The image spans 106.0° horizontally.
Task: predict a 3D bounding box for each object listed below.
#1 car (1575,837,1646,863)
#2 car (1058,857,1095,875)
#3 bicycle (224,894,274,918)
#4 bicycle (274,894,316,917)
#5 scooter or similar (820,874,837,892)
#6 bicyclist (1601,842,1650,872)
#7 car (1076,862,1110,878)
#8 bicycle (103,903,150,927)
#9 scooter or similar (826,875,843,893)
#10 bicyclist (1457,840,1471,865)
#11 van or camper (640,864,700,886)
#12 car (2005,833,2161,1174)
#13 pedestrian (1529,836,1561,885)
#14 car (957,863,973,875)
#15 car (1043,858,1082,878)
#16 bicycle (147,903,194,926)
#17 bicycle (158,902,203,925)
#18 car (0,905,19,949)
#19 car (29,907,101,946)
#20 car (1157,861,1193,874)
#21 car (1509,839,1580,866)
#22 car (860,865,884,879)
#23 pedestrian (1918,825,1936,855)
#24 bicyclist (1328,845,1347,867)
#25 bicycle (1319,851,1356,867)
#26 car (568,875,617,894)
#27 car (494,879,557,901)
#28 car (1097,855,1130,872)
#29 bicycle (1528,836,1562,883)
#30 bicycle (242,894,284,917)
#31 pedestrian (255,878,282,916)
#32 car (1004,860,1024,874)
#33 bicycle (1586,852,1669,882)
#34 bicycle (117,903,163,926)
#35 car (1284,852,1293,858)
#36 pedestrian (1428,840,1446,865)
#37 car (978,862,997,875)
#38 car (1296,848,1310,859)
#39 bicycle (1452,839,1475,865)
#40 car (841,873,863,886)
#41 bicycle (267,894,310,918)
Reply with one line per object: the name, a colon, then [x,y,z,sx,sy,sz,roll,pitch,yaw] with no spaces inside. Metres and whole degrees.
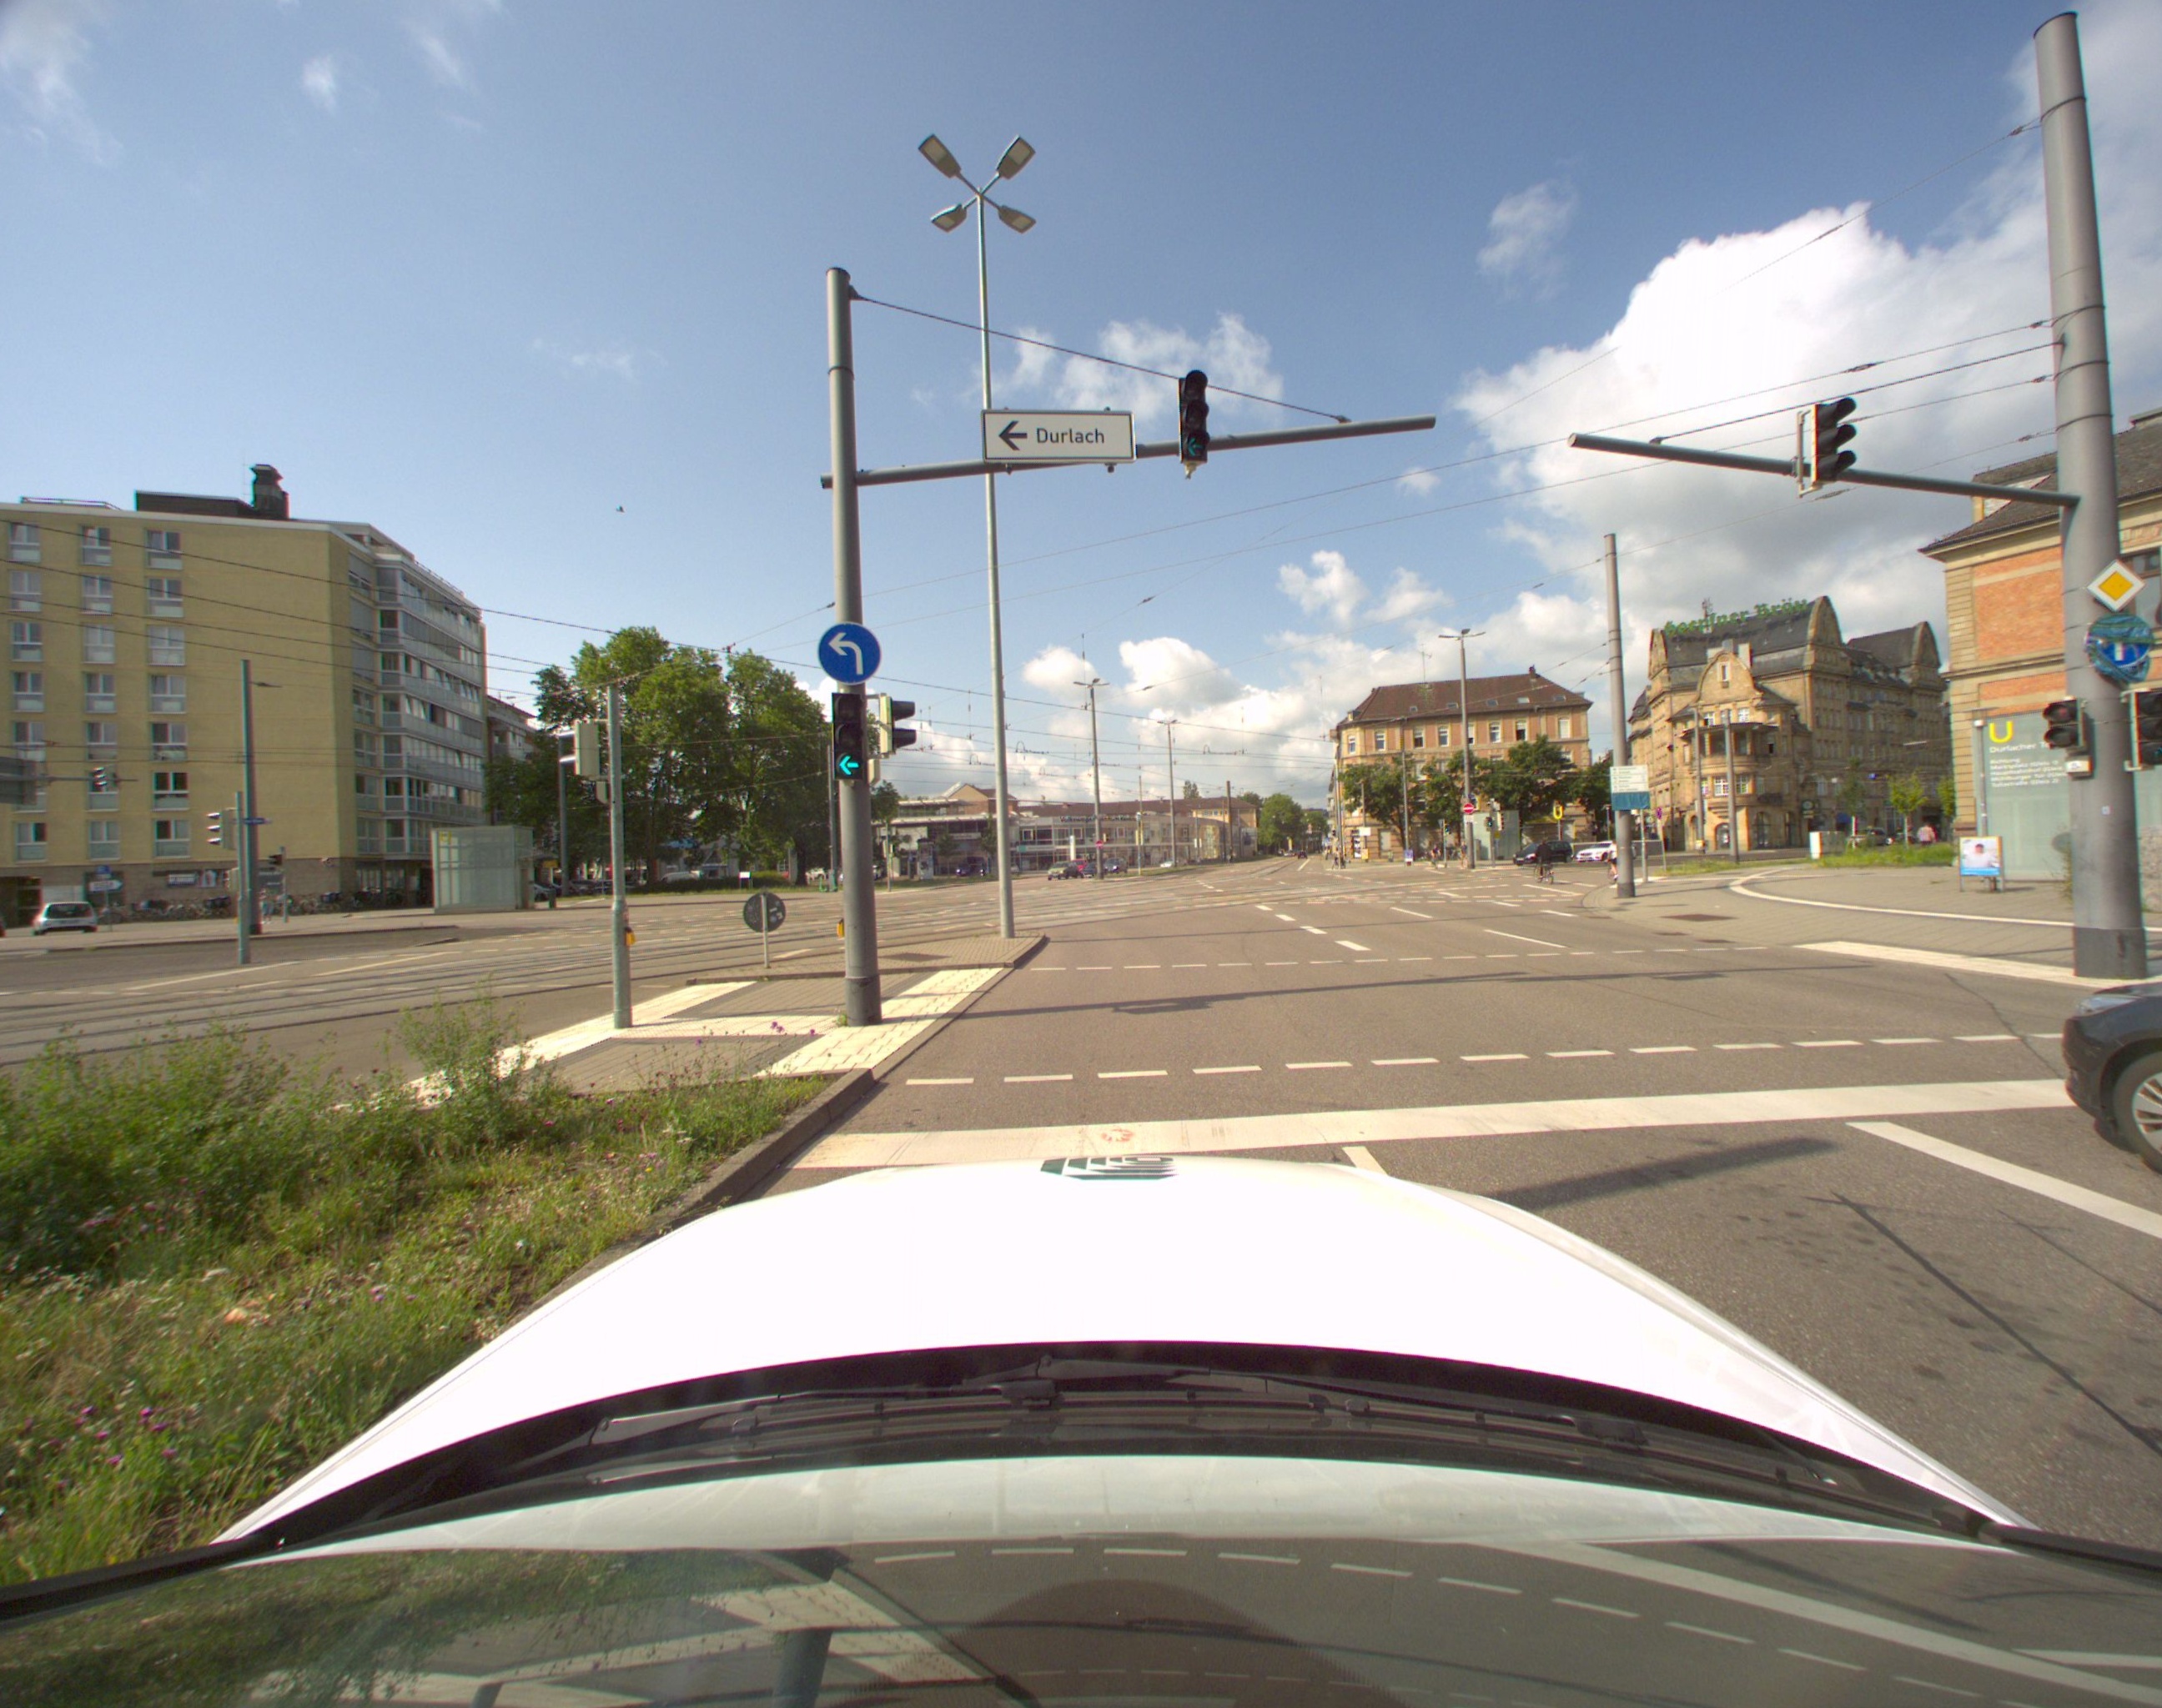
car: [36.998,-0.311,56.855,4.693,1.595,1.983,-3,1,-25]
car: [-0.367,1.010,70.145,1.978,1.519,4.018,0,0,18]
bicycle: [-46.839,2.936,45.864,1.892,1.272,0.484,3,1,-24]
bicycle: [-45.292,2.977,46.955,1.641,1.272,0.486,3,-3,-12]
scooter or similar: [-16.821,1.903,54.196,0.934,1.157,0.377,2,1,-43]
bicyclist: [19.807,0.118,29.674,0.987,1.028,1.215,1,-2,1]
car: [0.986,1.218,63.929,1.608,1.161,4.018,0,0,18]
bicycle: [-51.936,3.328,44.324,1.641,1.202,0.486,3,-3,-12]
scooter or similar: [-16.315,1.970,53.907,0.377,1.157,0.935,4,1,36]
bicyclist: [26.033,-0.068,55.423,0.571,1.671,0.656,-2,-1,-2]
van or camper: [-48.412,2.436,95.924,5.848,2.469,2.397,0,0,5]
car: [5.729,0.676,2.159,1.761,1.528,4.256,-2,1,1]
pedestrian: [17.782,0.240,31.237,0.983,1.841,1.002,0,0,27]
car: [-14.460,1.852,101.343,1.918,1.445,3.989,-2,0,-8]
car: [-1.426,1.102,64.500,1.806,1.513,4.018,0,0,18]
bicycle: [-50.067,3.327,44.779,1.641,1.202,0.546,3,-3,-11]
bicycle: [-50.132,3.316,45.339,1.641,1.202,0.486,3,-3,-12]
car: [-49.626,3.285,36.593,5.000,1.468,1.903,4,1,33]
car: [-46.888,3.310,37.568,3.467,1.440,1.730,3,-1,34]
car: [11.628,1.665,100.743,4.502,1.464,1.762,0,0,-37]
car: [30.975,-0.119,54.391,4.349,1.739,1.983,0,0,-26]
car: [-26.224,2.270,102.186,2.062,1.604,3.996,-2,0,-2]
pedestrian: [43.782,-0.733,42.155,0.501,1.505,0.501,-2,-1,-33]
bicyclist: [20.313,0.151,64.422,1.192,1.658,0.784,-2,0,-7]
bicycle: [20.278,0.395,64.473,2.669,1.170,0.899,-2,0,-7]
car: [-46.742,2.916,78.010,3.611,1.594,1.659,-2,-1,-12]
car: [-43.179,2.777,63.423,3.570,1.530,1.989,0,0,-16]
car: [3.198,0.928,79.073,1.976,1.552,4.021,-2,0,20]
bicycle: [17.825,0.191,31.306,0.996,1.725,2.483,0,0,27]
bicycle: [-46.675,2.934,46.482,1.641,1.272,0.486,3,-3,-12]
pedestrian: [-38.972,2.038,39.060,0.790,1.759,0.984,-1,0,-39]
car: [-8.433,1.621,102.762,1.911,1.552,4.003,-2,0,3]
bicycle: [19.804,0.496,29.616,0.989,1.027,3.109,1,-2,1]
bicycle: [-51.868,3.328,44.891,1.641,1.202,0.486,3,-3,-12]
car: [52.426,0.188,206.080,1.980,1.332,4.014,-2,0,13]
pedestrian: [26.134,-0.107,59.756,0.865,1.810,0.884,0,0,-10]
car: [-11.549,1.776,101.055,1.914,1.445,3.997,-2,0,-2]
car: [41.299,-0.099,151.513,1.977,2.013,4.020,-2,-1,20]
bicycle: [26.036,-0.132,55.446,0.727,1.777,1.636,-2,-1,-2]
car: [-28.837,3.206,102.620,1.991,1.574,3.991,0,0,-6]
bicycle: [-45.161,2.976,46.434,1.641,1.272,0.529,3,-3,-12]
